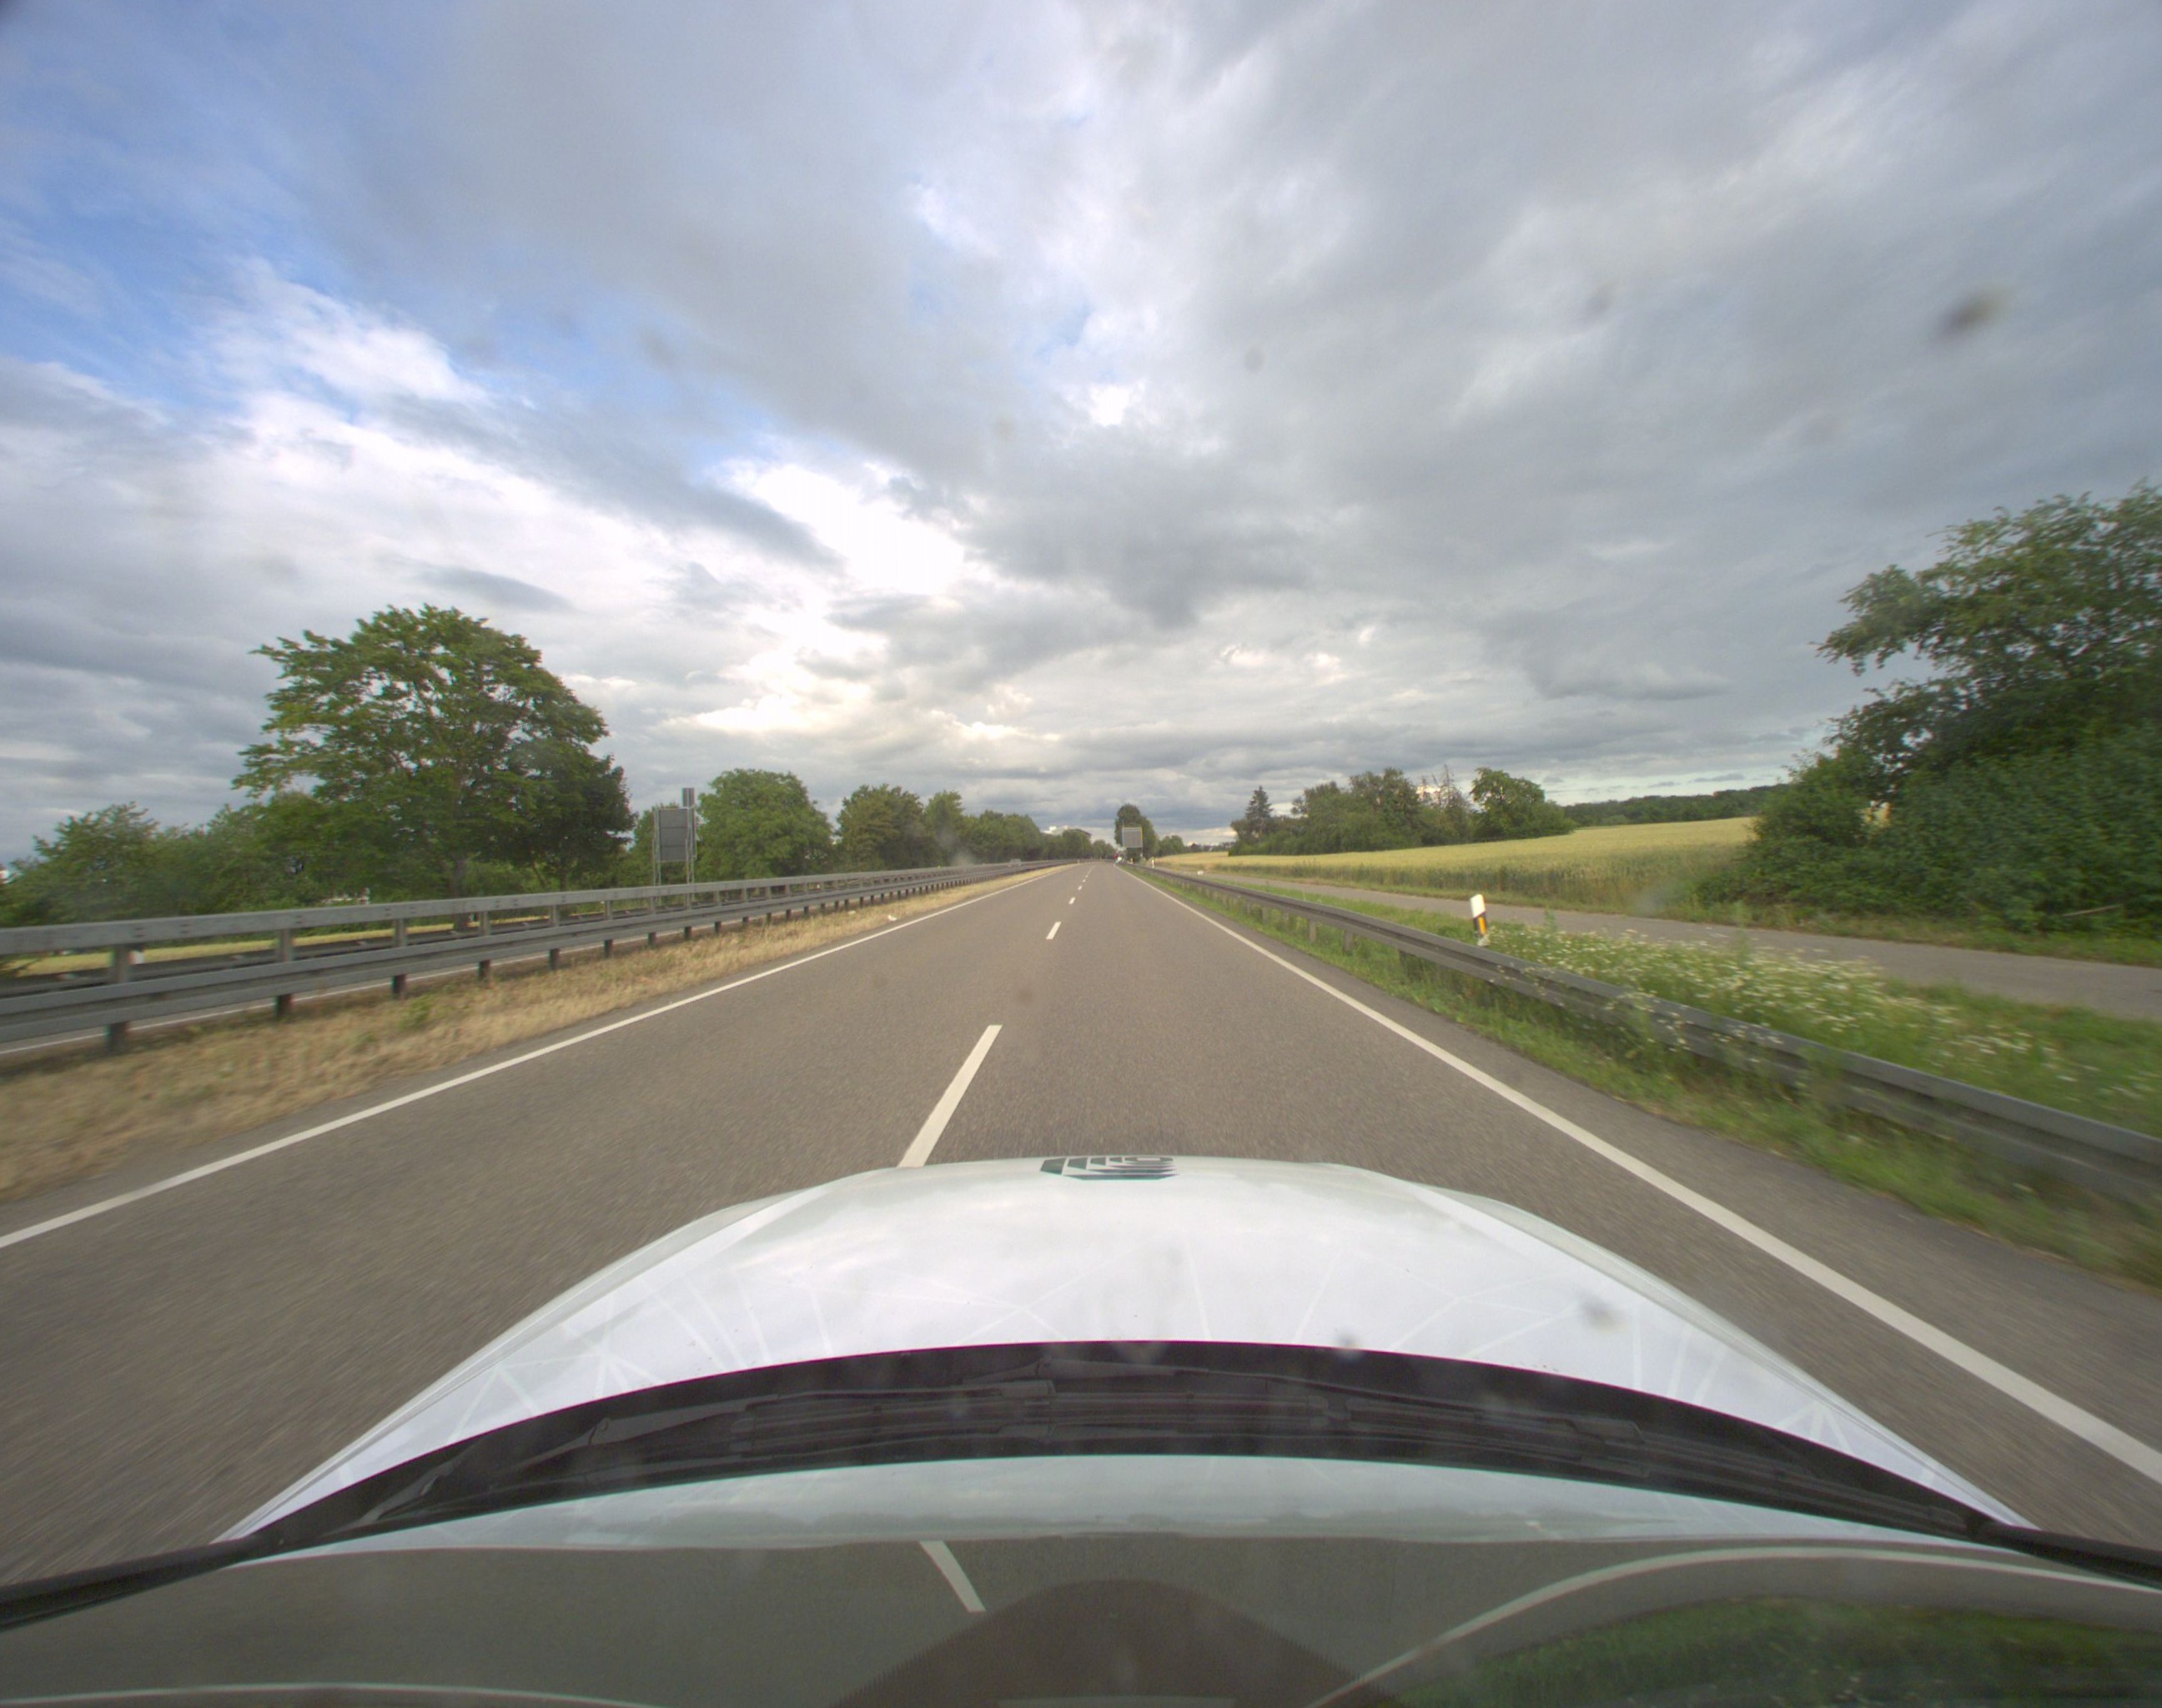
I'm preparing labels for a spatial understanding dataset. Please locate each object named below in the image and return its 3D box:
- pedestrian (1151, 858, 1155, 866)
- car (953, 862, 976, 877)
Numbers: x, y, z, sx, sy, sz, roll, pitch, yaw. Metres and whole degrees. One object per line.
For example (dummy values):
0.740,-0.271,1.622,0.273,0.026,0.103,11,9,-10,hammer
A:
14.721,1.635,166.381,0.600,1.666,0.542,0,-1,-1,pedestrian
-13.762,1.840,96.358,1.790,1.625,4.486,-3,0,2,car
